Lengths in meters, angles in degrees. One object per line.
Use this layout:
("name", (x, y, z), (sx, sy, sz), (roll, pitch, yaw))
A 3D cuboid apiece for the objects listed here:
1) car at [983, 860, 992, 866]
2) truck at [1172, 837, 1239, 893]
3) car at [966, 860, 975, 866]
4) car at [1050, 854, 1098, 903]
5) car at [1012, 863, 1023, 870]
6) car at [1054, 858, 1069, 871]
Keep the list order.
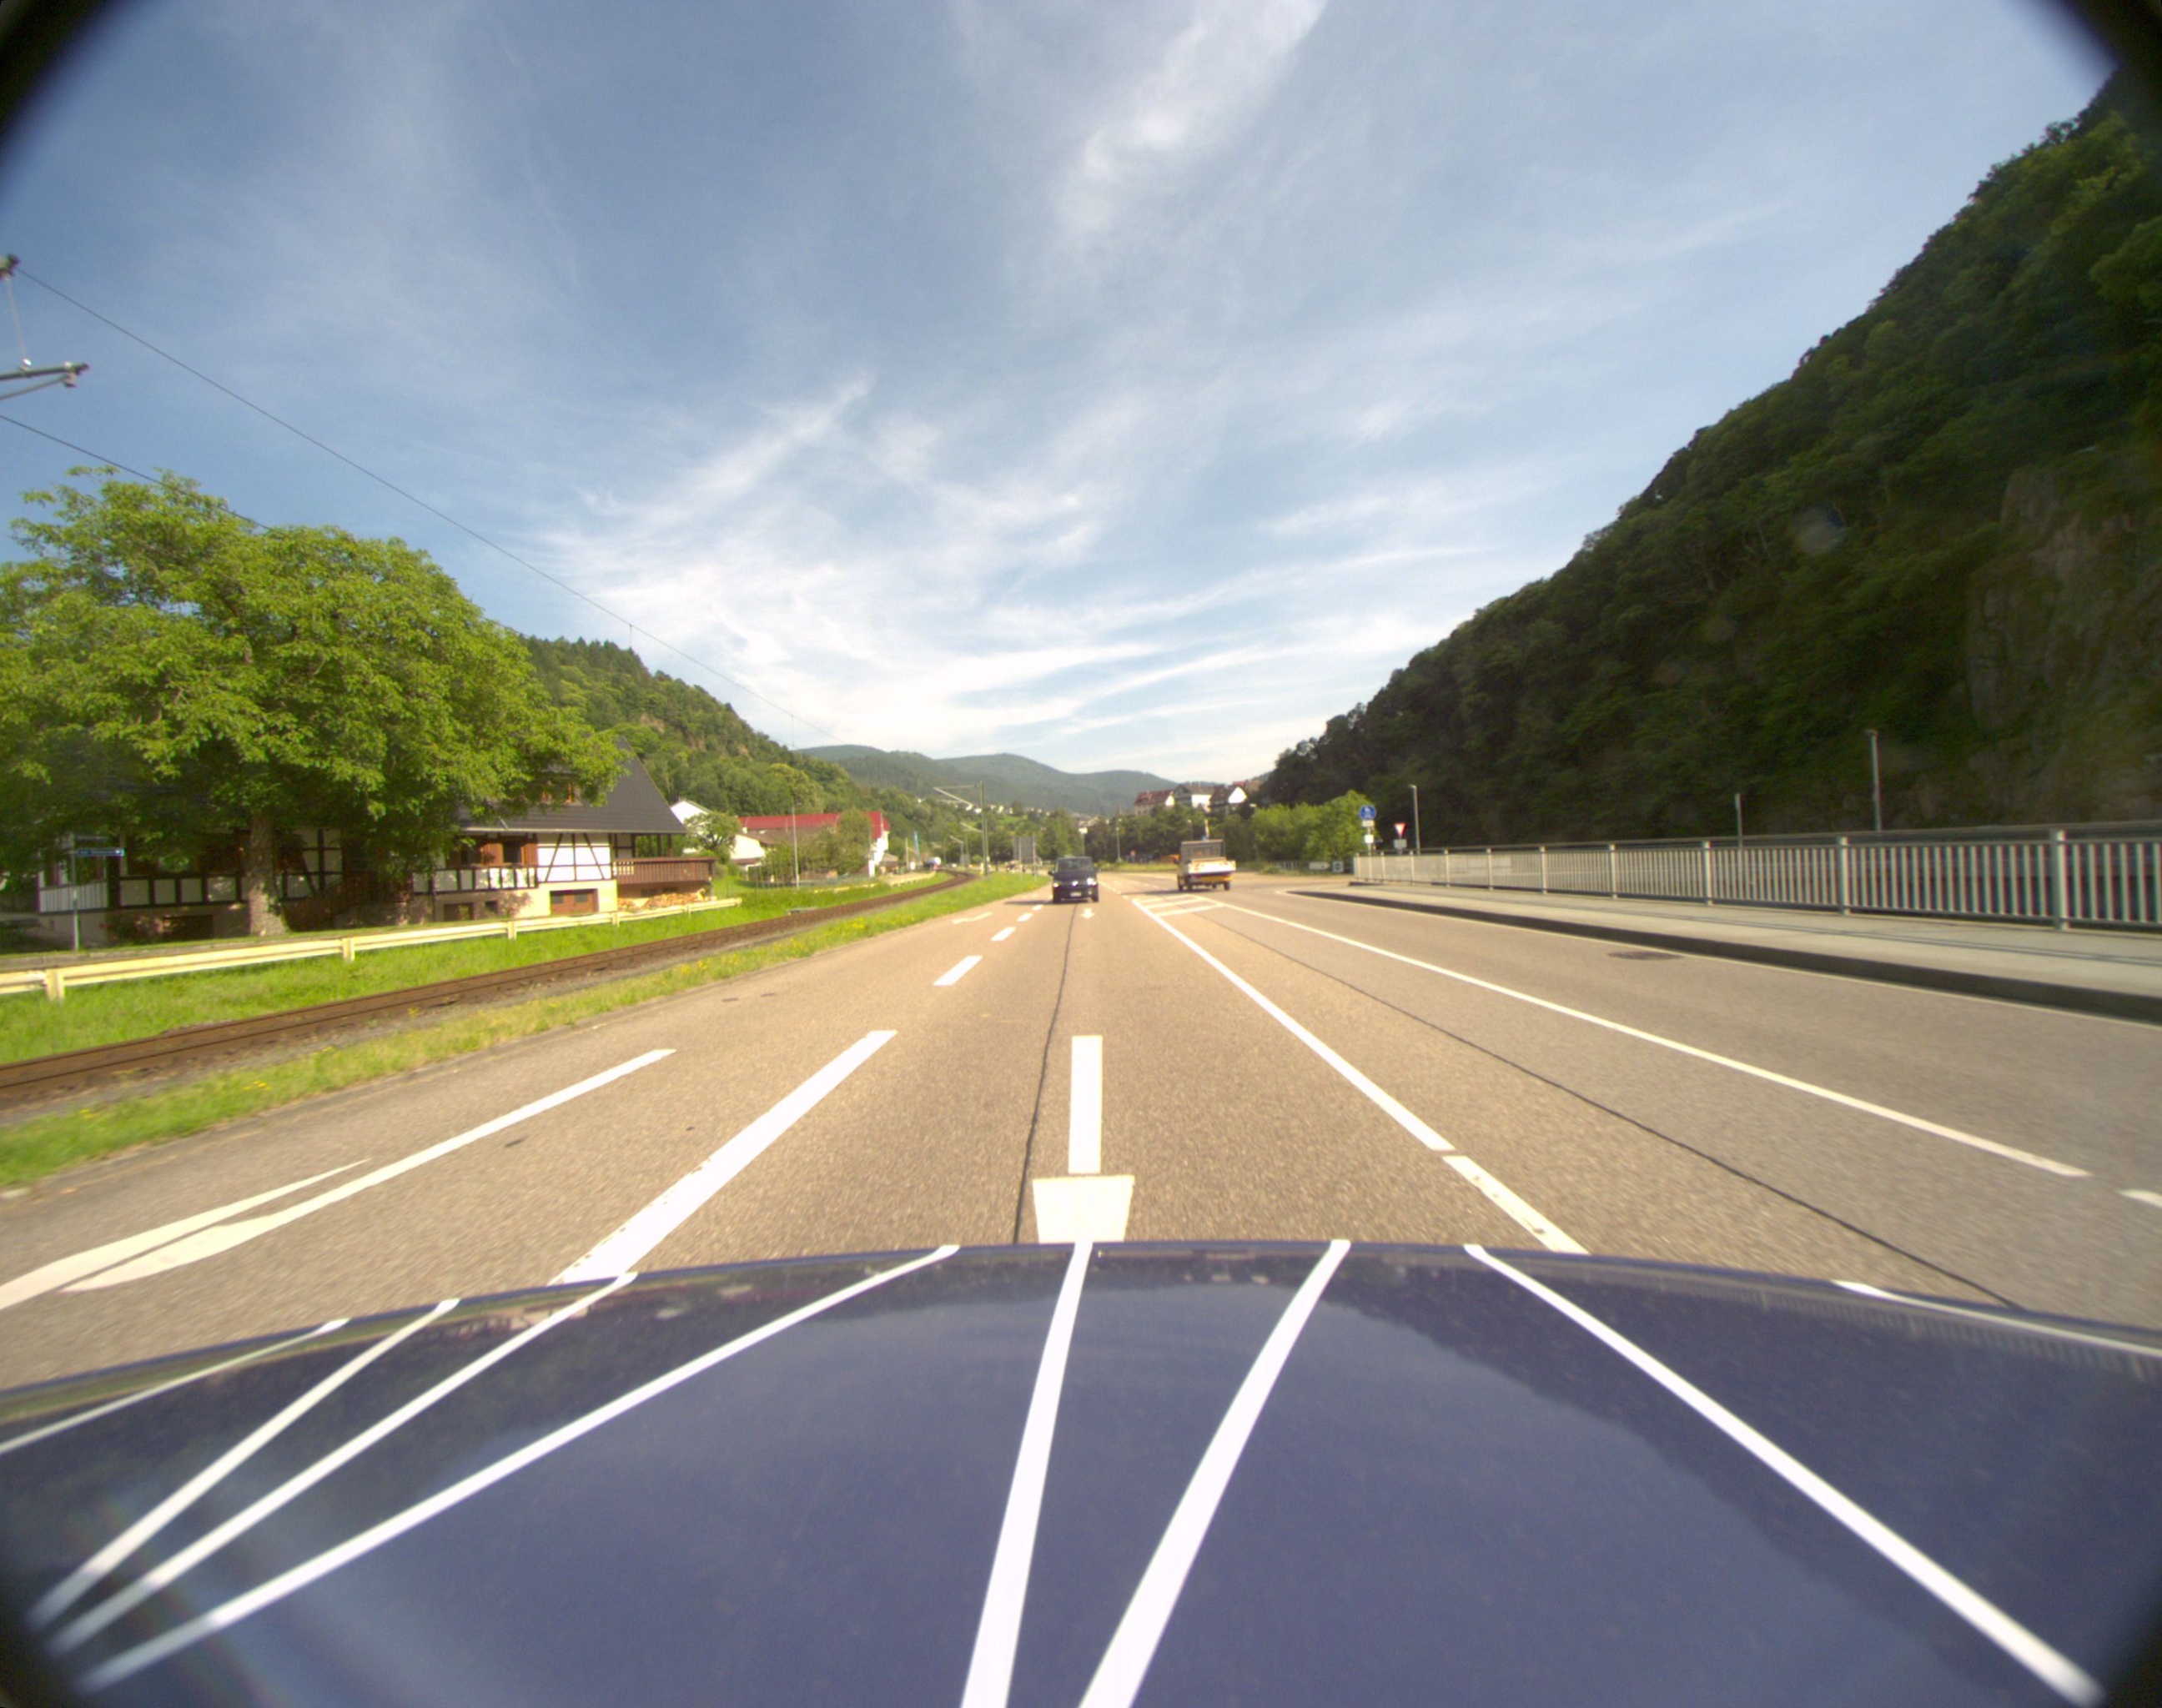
("car", (-28.794, 2.792, 234.381), (1.871, 1.652, 3.994), (-4, 0, -20))
("truck", (5.961, 0.491, 37.092), (2.169, 2.373, 5.854), (-4, 0, 0))
("car", (-36.974, 3.083, 254.978), (2.002, 1.652, 3.994), (-4, 0, -21))
("car", (-0.273, 0.987, 32.916), (1.865, 1.936, 4.638), (-2, 0, 0))
("car", (-17.090, 3.280, 203.880), (2.001, 1.652, 3.995), (-4, 0, -16))
("car", (-3.066, 1.646, 119.753), (1.729, 1.815, 3.850), (-4, 0, -10))
